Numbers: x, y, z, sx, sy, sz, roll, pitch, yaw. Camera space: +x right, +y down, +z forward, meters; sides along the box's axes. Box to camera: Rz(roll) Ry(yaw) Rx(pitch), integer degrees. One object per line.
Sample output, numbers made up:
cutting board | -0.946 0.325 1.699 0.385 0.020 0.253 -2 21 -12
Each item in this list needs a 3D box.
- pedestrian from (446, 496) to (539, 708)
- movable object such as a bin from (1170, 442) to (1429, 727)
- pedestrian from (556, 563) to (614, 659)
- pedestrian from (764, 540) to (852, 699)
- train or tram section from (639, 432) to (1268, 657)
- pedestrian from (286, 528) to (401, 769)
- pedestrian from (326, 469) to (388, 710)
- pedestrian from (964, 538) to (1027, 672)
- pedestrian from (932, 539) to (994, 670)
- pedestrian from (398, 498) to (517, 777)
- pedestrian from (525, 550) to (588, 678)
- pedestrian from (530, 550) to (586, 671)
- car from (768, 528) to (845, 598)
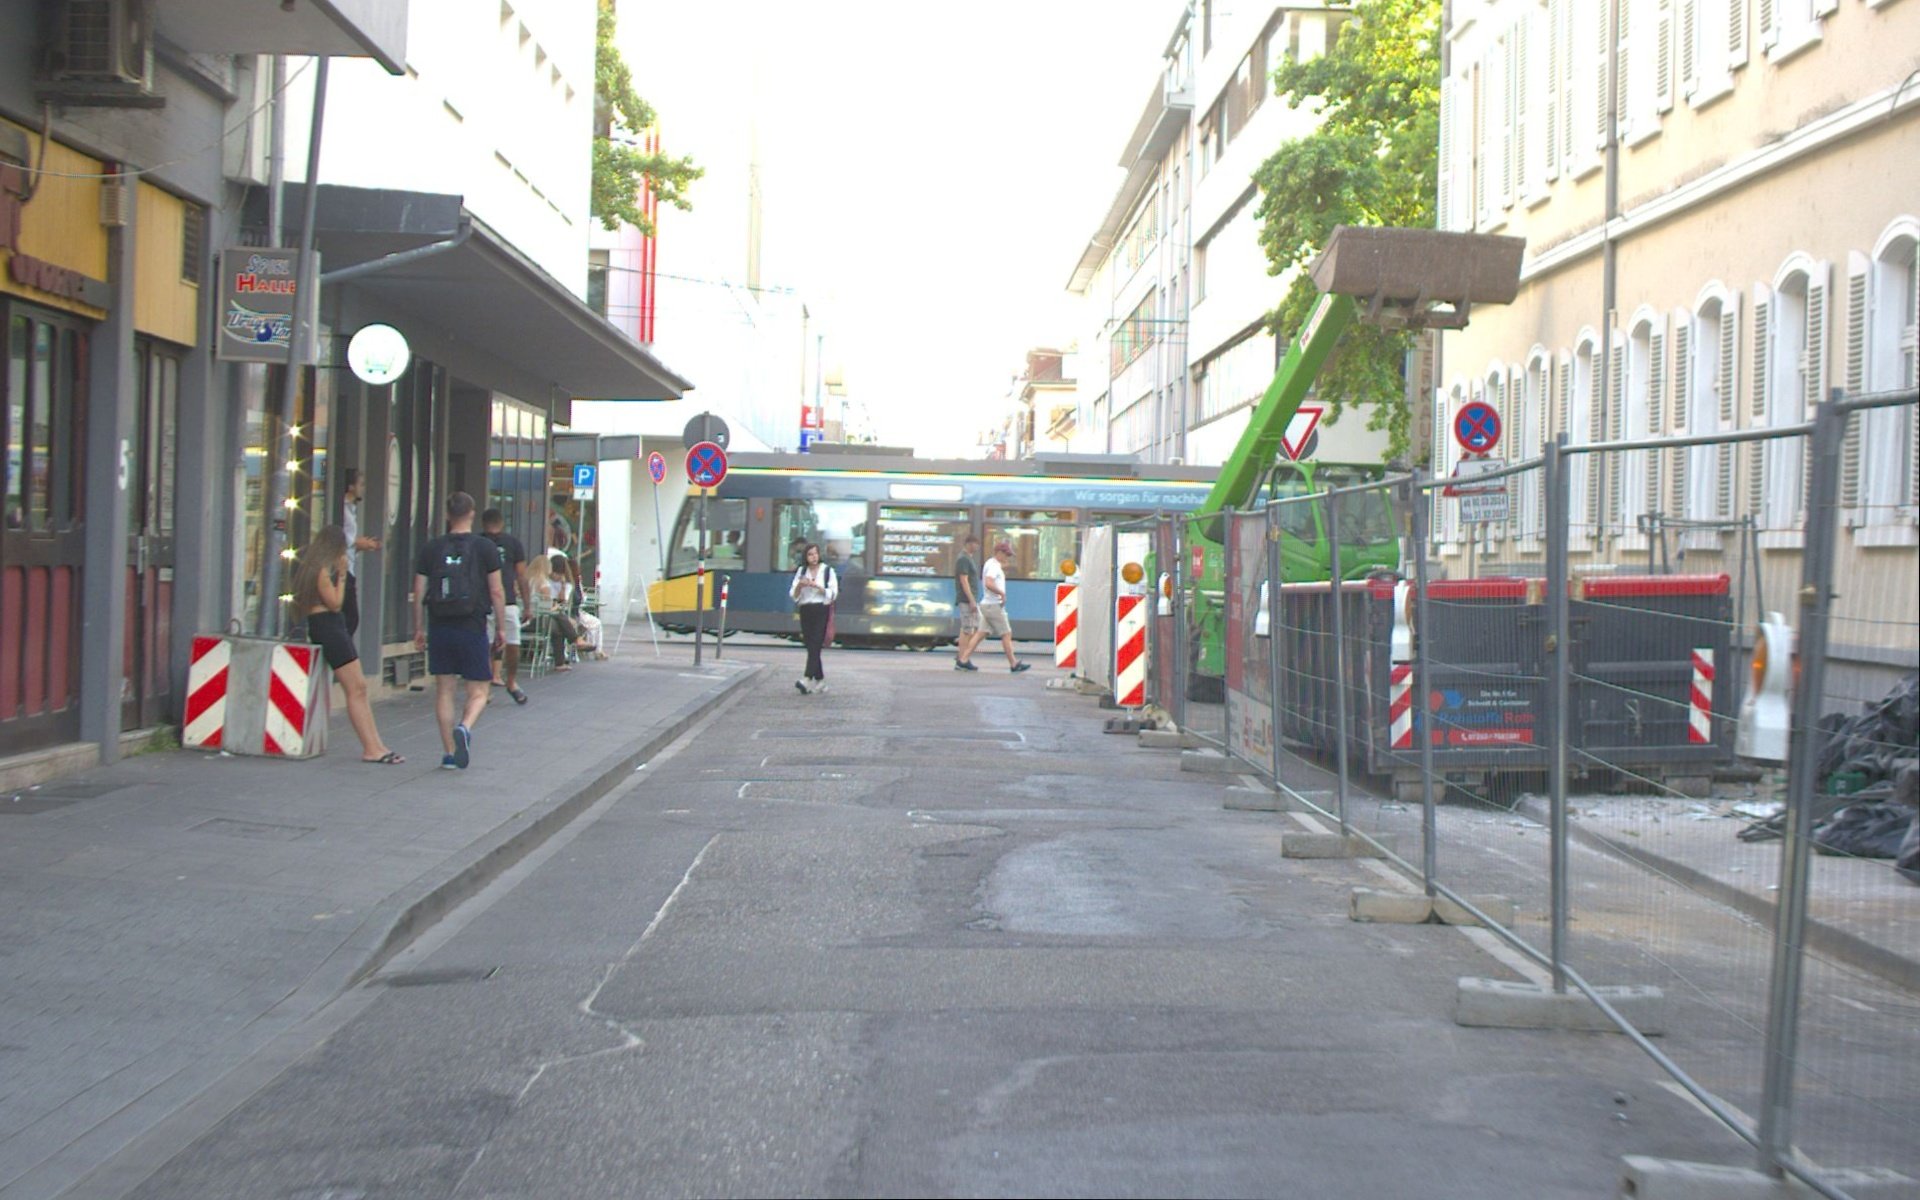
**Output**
pedestrian | -4.210 0.017 30.943 0.654 1.880 0.574 2 1 -21
movable object such as a bin | 3.994 -0.241 41.268 2.470 3.120 4.298 3 2 -1
pedestrian | -4.683 0.127 42.996 0.618 1.168 0.788 2 1 -2
pedestrian | -1.692 0.216 38.312 0.721 1.734 0.646 2 1 22
train or tram section | -0.124 -0.943 59.372 10.486 3.448 3.000 2 1 -1
pedestrian | -4.096 0.315 22.821 0.645 1.559 0.631 2 1 -15
pedestrian | -5.083 -0.088 28.999 0.410 2.007 0.454 2 0 -3
pedestrian | 0.485 0.060 47.086 0.645 1.803 0.631 2 1 -17
pedestrian | 0.041 0.062 48.078 0.645 1.803 0.631 2 1 -17
pedestrian | -3.314 0.240 22.713 0.629 1.802 0.647 2 1 1
pedestrian | -4.572 0.152 39.021 0.558 1.386 0.893 3 2 -1
pedestrian | -4.678 0.123 40.034 0.542 1.383 0.625 2 1 0
car | -3.220 -0.790 72.595 1.474 1.393 3.332 2 1 -1
